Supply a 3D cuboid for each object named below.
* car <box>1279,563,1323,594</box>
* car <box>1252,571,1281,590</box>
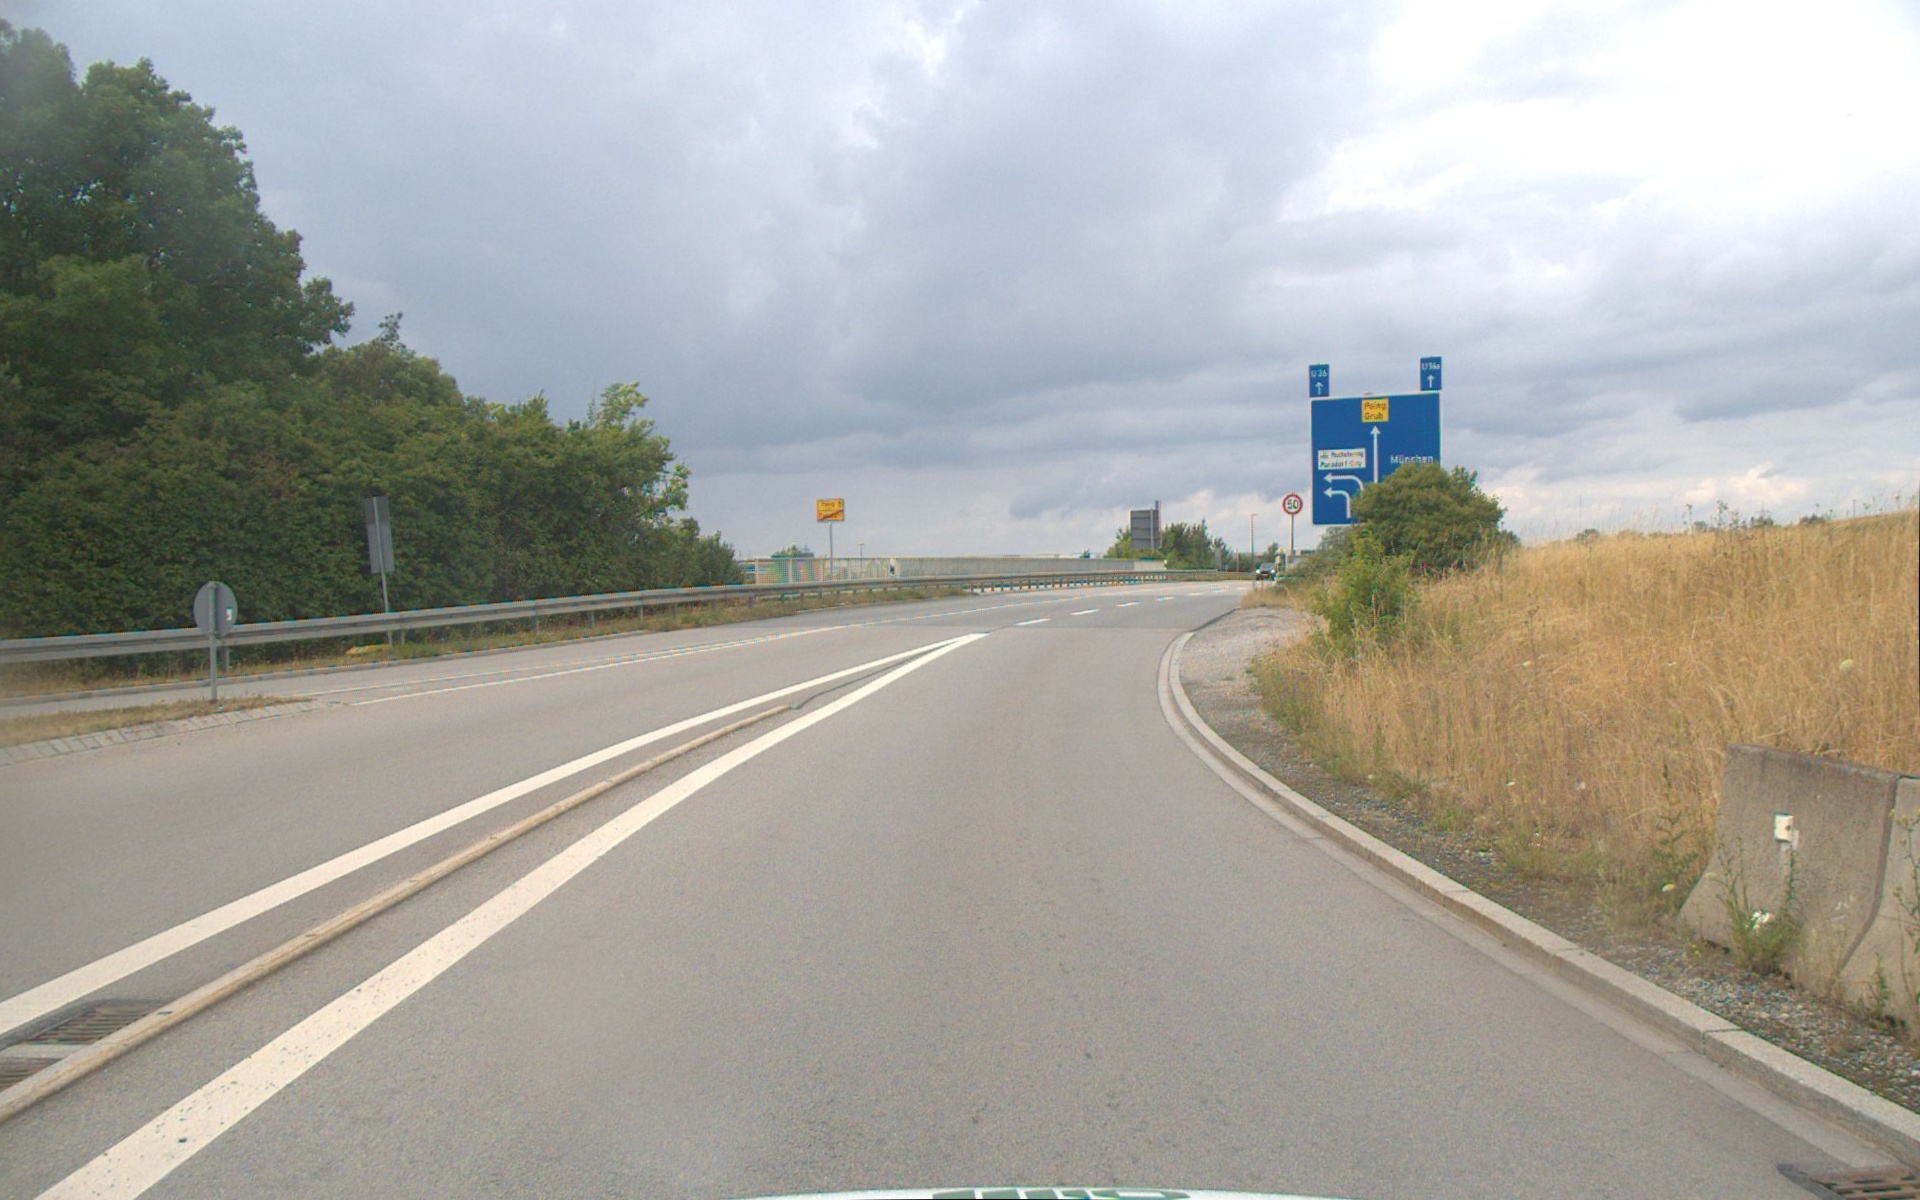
[{"bbox_3d":[17.359,-1.115,84.124,1.487,1.511,3.614,-1,1,24],"label":"car"},{"bbox_3d":[31.210,-1.937,168.337,1.953,1.761,4.763,5,2,20],"label":"car"}]
